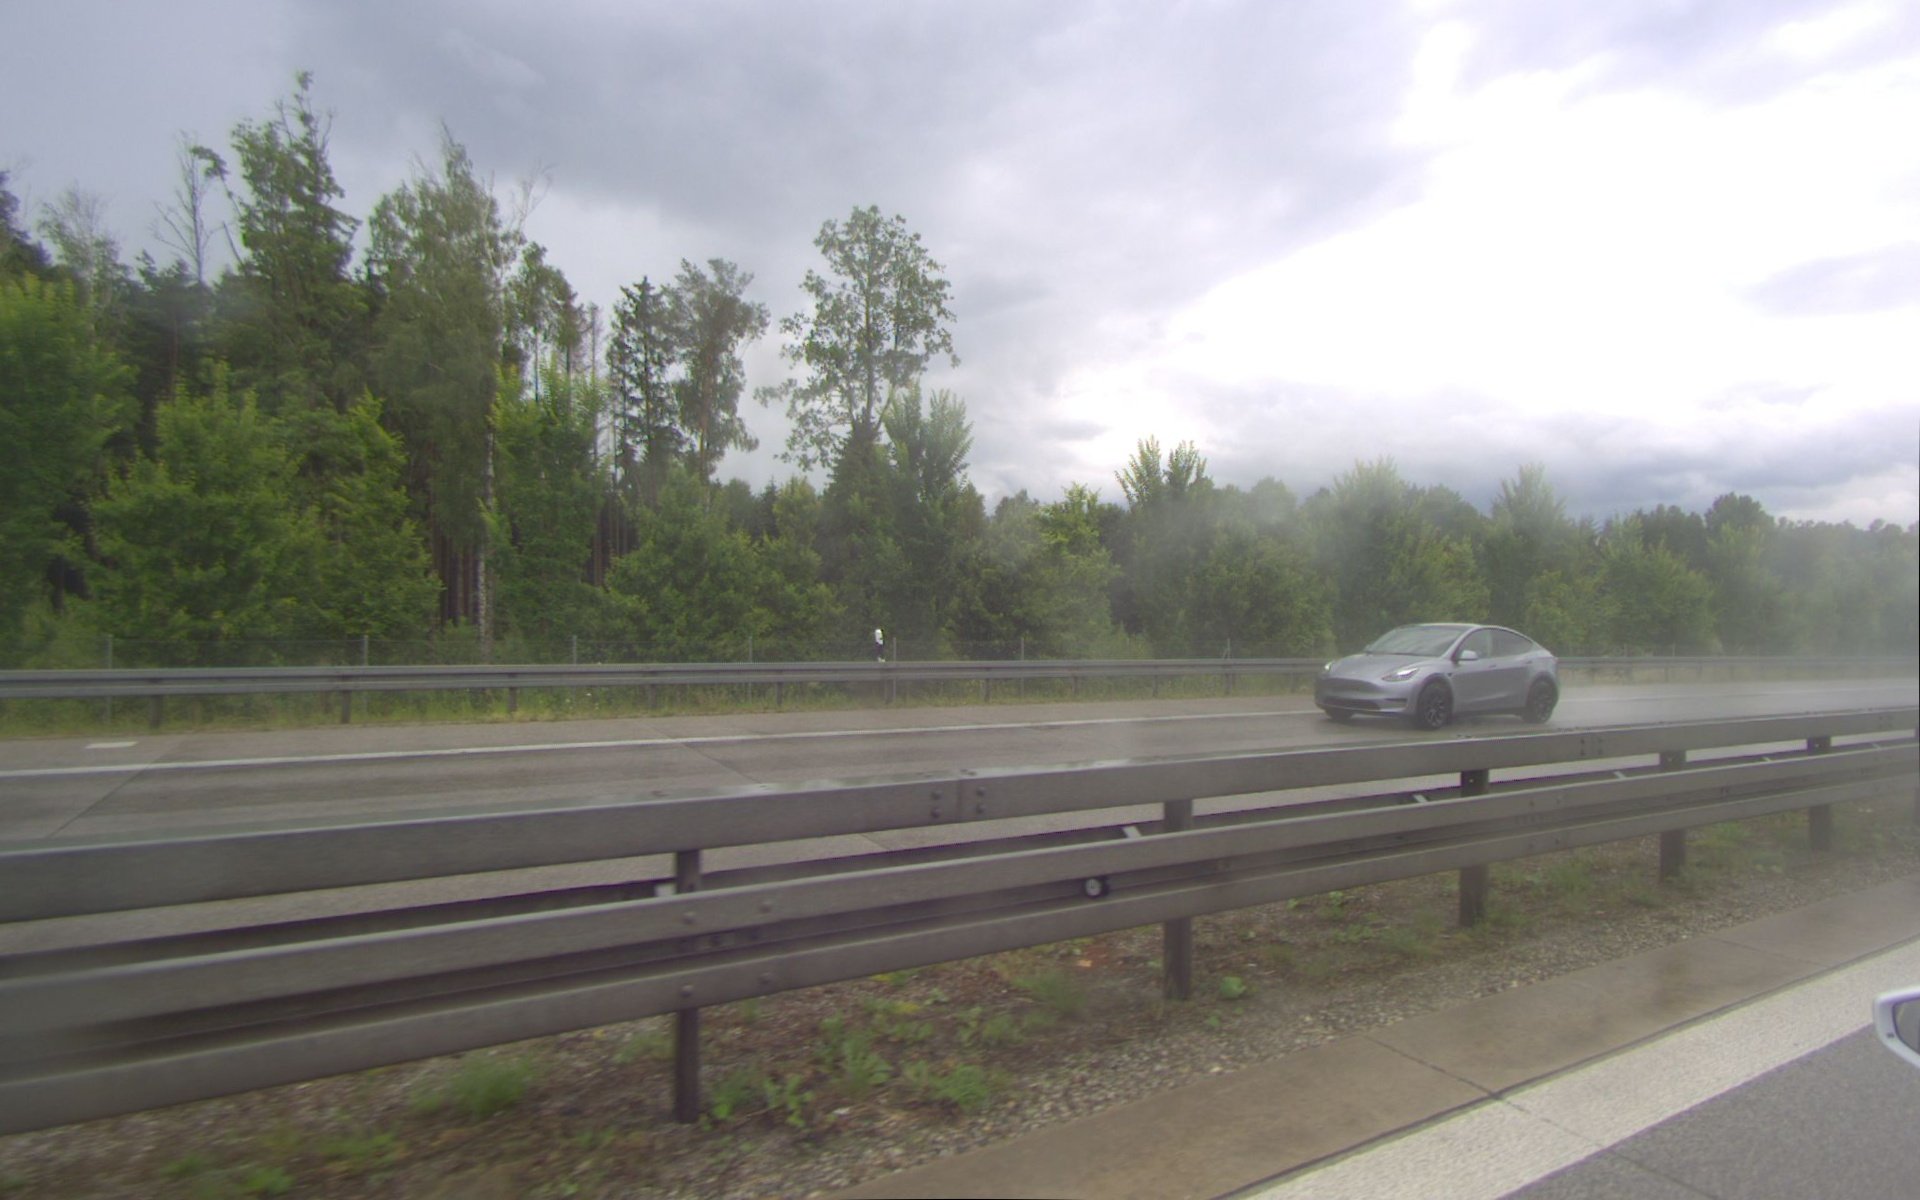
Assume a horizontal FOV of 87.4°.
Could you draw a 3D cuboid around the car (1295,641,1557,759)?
[{"bbox_3d":[7.647,1.533,16.434,3.953,1.603,1.984,0,-2,-31],"label":"car"}]
